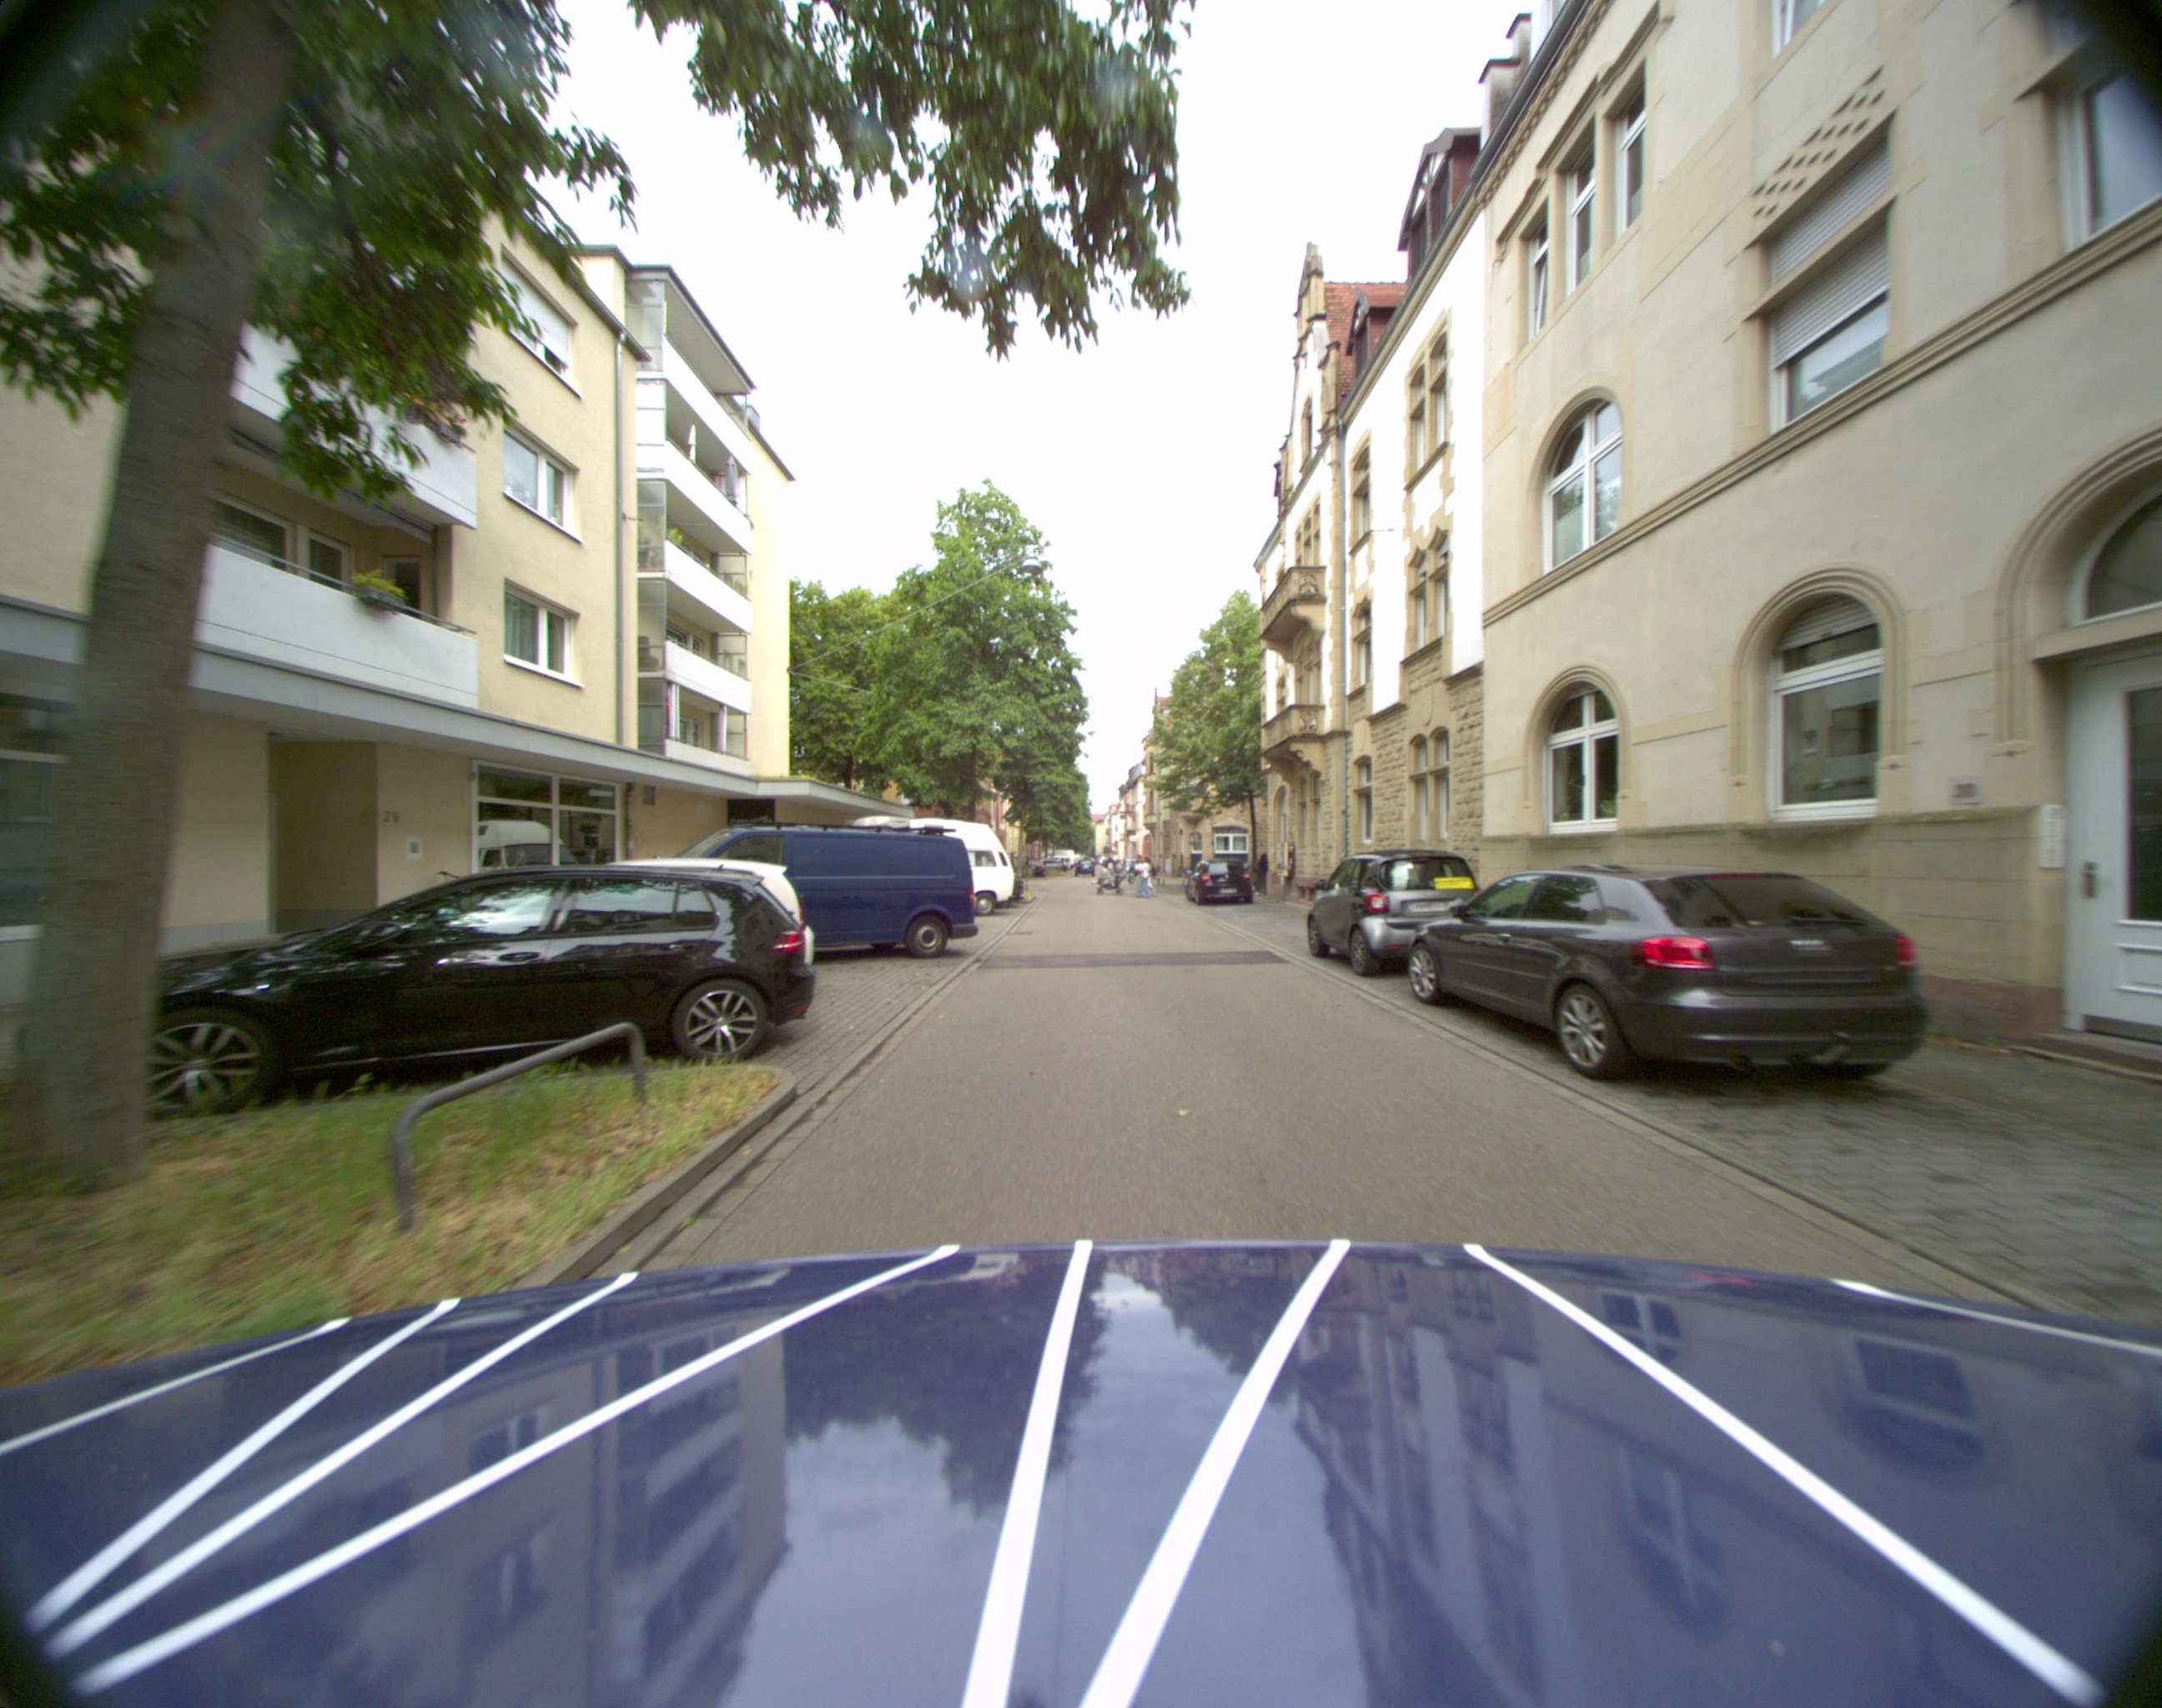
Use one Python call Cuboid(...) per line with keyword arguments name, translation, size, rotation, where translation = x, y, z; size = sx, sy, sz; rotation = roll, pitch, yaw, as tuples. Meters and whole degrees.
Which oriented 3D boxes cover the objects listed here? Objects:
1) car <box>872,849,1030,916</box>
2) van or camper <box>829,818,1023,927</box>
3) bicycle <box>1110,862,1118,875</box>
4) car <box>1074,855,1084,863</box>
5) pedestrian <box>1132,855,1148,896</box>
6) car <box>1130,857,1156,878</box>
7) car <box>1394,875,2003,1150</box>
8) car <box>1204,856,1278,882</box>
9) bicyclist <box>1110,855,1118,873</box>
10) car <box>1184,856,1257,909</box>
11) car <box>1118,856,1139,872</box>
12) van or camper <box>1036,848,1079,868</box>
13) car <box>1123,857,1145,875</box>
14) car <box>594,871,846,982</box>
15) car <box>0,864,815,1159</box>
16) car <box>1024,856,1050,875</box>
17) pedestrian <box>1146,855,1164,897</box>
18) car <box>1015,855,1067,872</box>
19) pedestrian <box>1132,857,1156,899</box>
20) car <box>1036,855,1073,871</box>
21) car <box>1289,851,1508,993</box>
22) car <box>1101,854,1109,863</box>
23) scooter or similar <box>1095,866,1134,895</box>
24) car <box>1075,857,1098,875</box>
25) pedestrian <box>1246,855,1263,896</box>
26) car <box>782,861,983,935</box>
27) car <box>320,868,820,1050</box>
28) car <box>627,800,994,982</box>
Cuboid(name="car", translation=(-3.911, 0.789, 22.934), size=(4.351, 1.843, 1.907), rotation=(-1, 0, -24))
Cuboid(name="van or camper", translation=(-4.031, 0.415, 19.987), size=(4.604, 2.580, 1.906), rotation=(-1, 0, -32))
Cuboid(name="bicycle", translation=(2.745, 1.179, 63.047), size=(0.635, 1.087, 1.800), rotation=(0, -1, 3))
Cuboid(name="car", translation=(-0.462, 1.162, 169.938), size=(1.998, 1.739, 4.001), rotation=(-1, 0, 3))
Cuboid(name="pedestrian", translation=(2.387, 0.883, 30.797), size=(0.528, 1.634, 0.529), rotation=(-2, 0, 11))
Cuboid(name="car", translation=(4.517, 0.951, 55.970), size=(1.731, 1.425, 3.882), rotation=(-2, 0, 3))
Cuboid(name="car", translation=(4.135, 0.916, 6.067), size=(1.730, 1.378, 3.930), rotation=(-1, 0, 2))
Cuboid(name="car", translation=(9.591, 0.891, 45.809), size=(4.279, 1.459, 1.662), rotation=(0, 4, 7))
Cuboid(name="bicyclist", translation=(2.734, 0.833, 62.933), size=(0.649, 1.529, 0.677), rotation=(0, 1, 3))
Cuboid(name="car", translation=(4.457, 0.854, 24.805), size=(1.713, 1.486, 4.000), rotation=(-3, 0, 2))
Cuboid(name="car", translation=(4.680, 0.997, 75.552), size=(1.671, 1.502, 3.552), rotation=(-1, 0, -4))
Cuboid(name="van or camper", translation=(-3.041, 0.492, 98.857), size=(5.077, 2.575, 2.069), rotation=(-1, 0, -30))
Cuboid(name="car", translation=(4.580, 1.039, 65.915), size=(1.593, 1.425, 3.809), rotation=(-2, 0, -1))
Cuboid(name="car", translation=(-6.196, 1.137, 13.145), size=(3.673, 1.472, 1.685), rotation=(-3, 1, -33))
Cuboid(name="car", translation=(-4.239, 0.806, 5.483), size=(4.120, 1.434, 1.848), rotation=(0, 0, -30))
Cuboid(name="car", translation=(-3.601, 0.925, 62.555), size=(1.768, 1.477, 4.479), rotation=(2, 0, 0))
Cuboid(name="pedestrian", translation=(2.914, 0.872, 29.850), size=(0.617, 1.634, 0.604), rotation=(-1, 0, 12))
Cuboid(name="car", translation=(-3.670, 0.909, 69.627), size=(4.454, 1.419, 1.754), rotation=(2, 0, -33))
Cuboid(name="pedestrian", translation=(2.398, 0.903, 28.891), size=(0.630, 1.584, 0.671), rotation=(-1, 0, 42))
Cuboid(name="car", translation=(-3.071, 0.994, 87.873), size=(3.993, 1.801, 1.722), rotation=(-1, 0, 12))
Cuboid(name="car", translation=(4.116, 0.820, 10.362), size=(1.651, 1.561, 2.957), rotation=(-3, -1, 0))
Cuboid(name="car", translation=(5.840, 1.079, 184.564), size=(2.052, 2.071, 3.811), rotation=(-2, 0, 2))
Cuboid(name="scooter or similar", translation=(1.386, 1.078, 30.897), size=(1.471, 1.098, 0.676), rotation=(1, 1, 12))
Cuboid(name="car", translation=(0.450, 0.995, 62.395), size=(1.712, 1.404, 3.855), rotation=(0, -2, 3))
Cuboid(name="pedestrian", translation=(6.541, 0.806, 28.645), size=(0.516, 1.509, 0.546), rotation=(0, 0, 1))
Cuboid(name="car", translation=(-4.267, 0.927, 16.536), size=(3.825, 1.409, 1.720), rotation=(2, -1, -36))
Cuboid(name="car", translation=(-4.858, 0.899, 7.903), size=(3.919, 1.457, 1.821), rotation=(0, 0, -24))
Cuboid(name="car", translation=(-3.911, 0.525, 11.401), size=(4.716, 2.183, 2.061), rotation=(2, -1, -37))
